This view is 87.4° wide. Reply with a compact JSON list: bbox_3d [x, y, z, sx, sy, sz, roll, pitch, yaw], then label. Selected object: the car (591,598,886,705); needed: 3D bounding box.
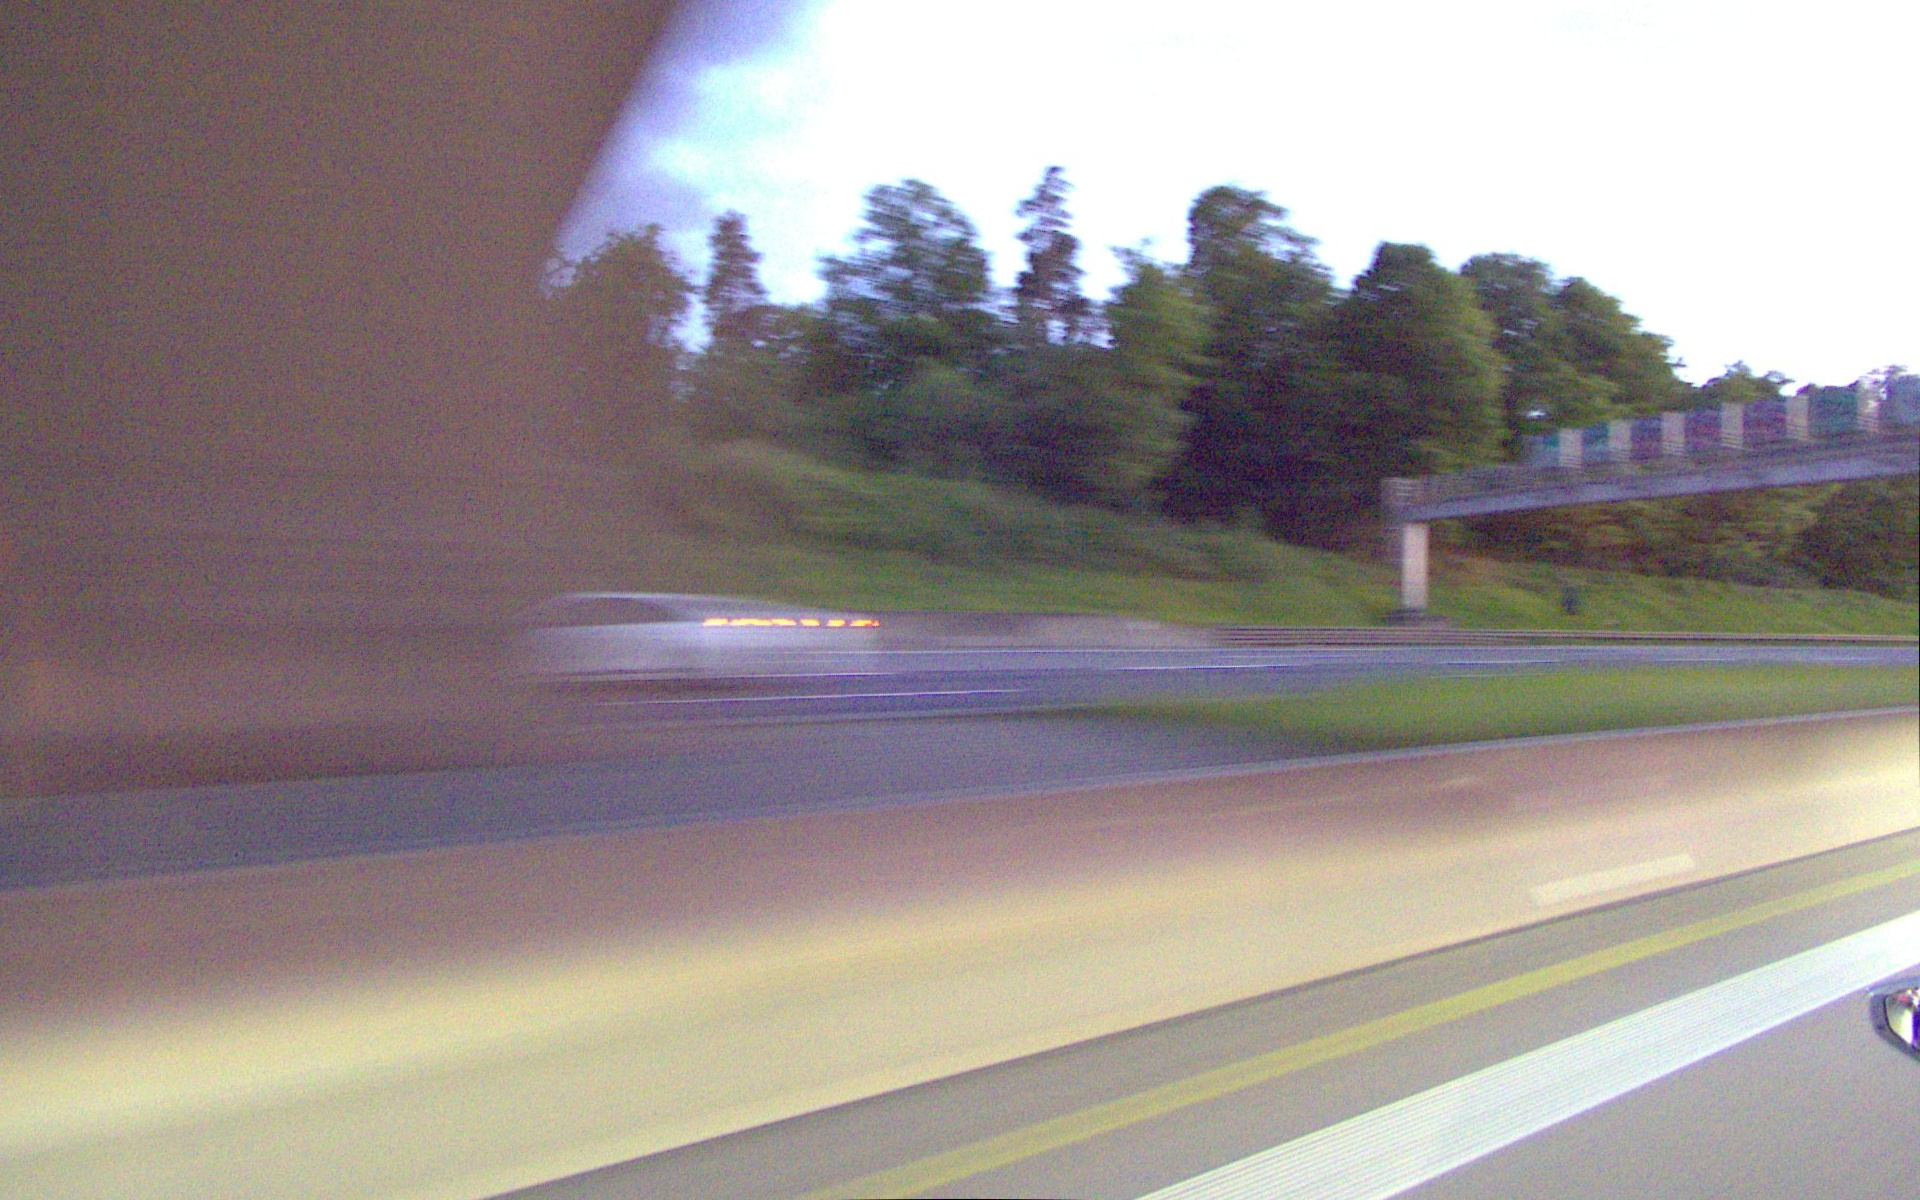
[{"bbox_3d":[-3.555,0.758,16.385,4.379,1.541,1.802,0,0,-31],"label":"car"}]
